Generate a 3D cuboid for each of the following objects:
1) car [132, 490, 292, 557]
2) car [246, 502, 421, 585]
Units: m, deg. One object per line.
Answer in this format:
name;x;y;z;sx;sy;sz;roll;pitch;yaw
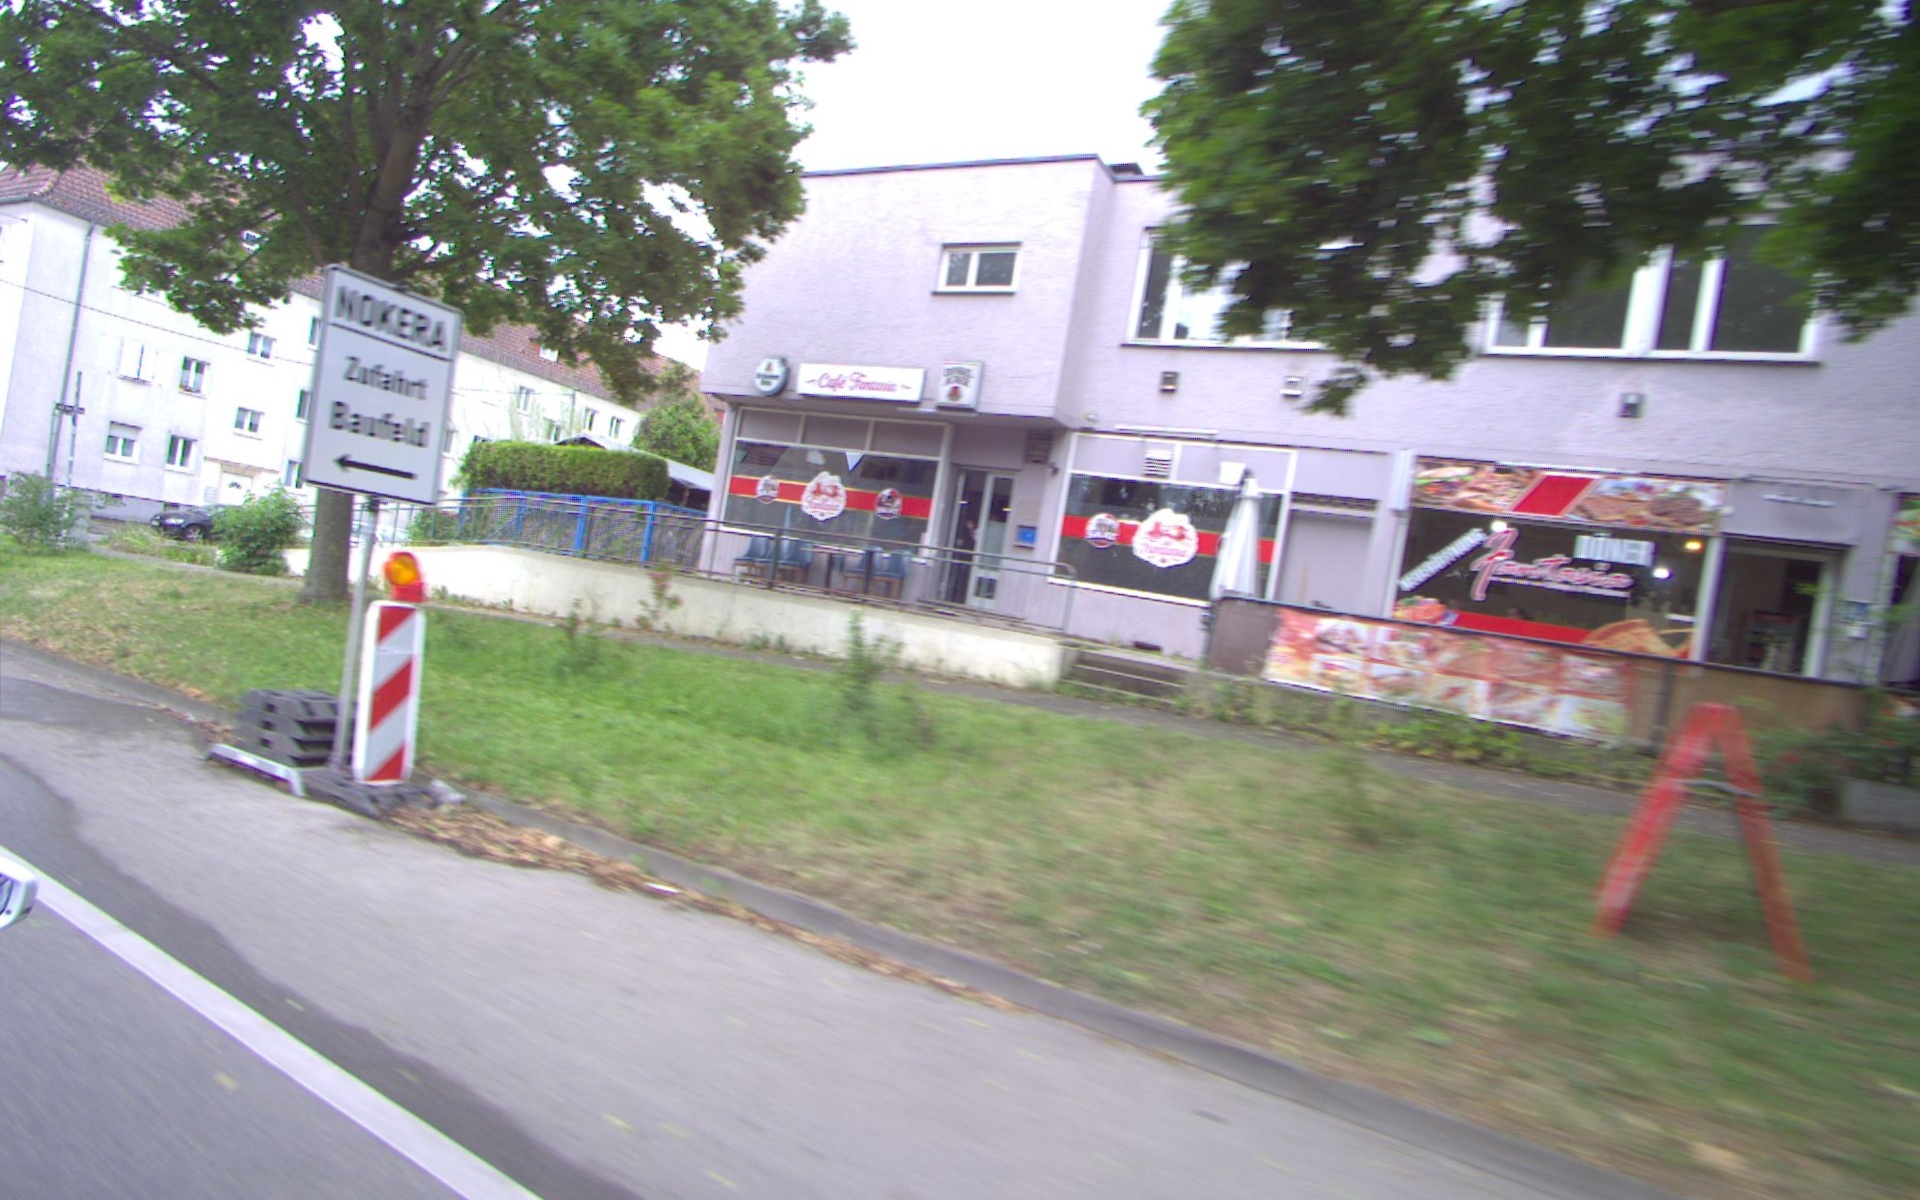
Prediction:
car;-26.490;-2.684;35.739;1.967;1.554;3.995;7;-2;33
car;-16.016;-1.441;25.701;3.929;1.489;1.876;7;-2;26
